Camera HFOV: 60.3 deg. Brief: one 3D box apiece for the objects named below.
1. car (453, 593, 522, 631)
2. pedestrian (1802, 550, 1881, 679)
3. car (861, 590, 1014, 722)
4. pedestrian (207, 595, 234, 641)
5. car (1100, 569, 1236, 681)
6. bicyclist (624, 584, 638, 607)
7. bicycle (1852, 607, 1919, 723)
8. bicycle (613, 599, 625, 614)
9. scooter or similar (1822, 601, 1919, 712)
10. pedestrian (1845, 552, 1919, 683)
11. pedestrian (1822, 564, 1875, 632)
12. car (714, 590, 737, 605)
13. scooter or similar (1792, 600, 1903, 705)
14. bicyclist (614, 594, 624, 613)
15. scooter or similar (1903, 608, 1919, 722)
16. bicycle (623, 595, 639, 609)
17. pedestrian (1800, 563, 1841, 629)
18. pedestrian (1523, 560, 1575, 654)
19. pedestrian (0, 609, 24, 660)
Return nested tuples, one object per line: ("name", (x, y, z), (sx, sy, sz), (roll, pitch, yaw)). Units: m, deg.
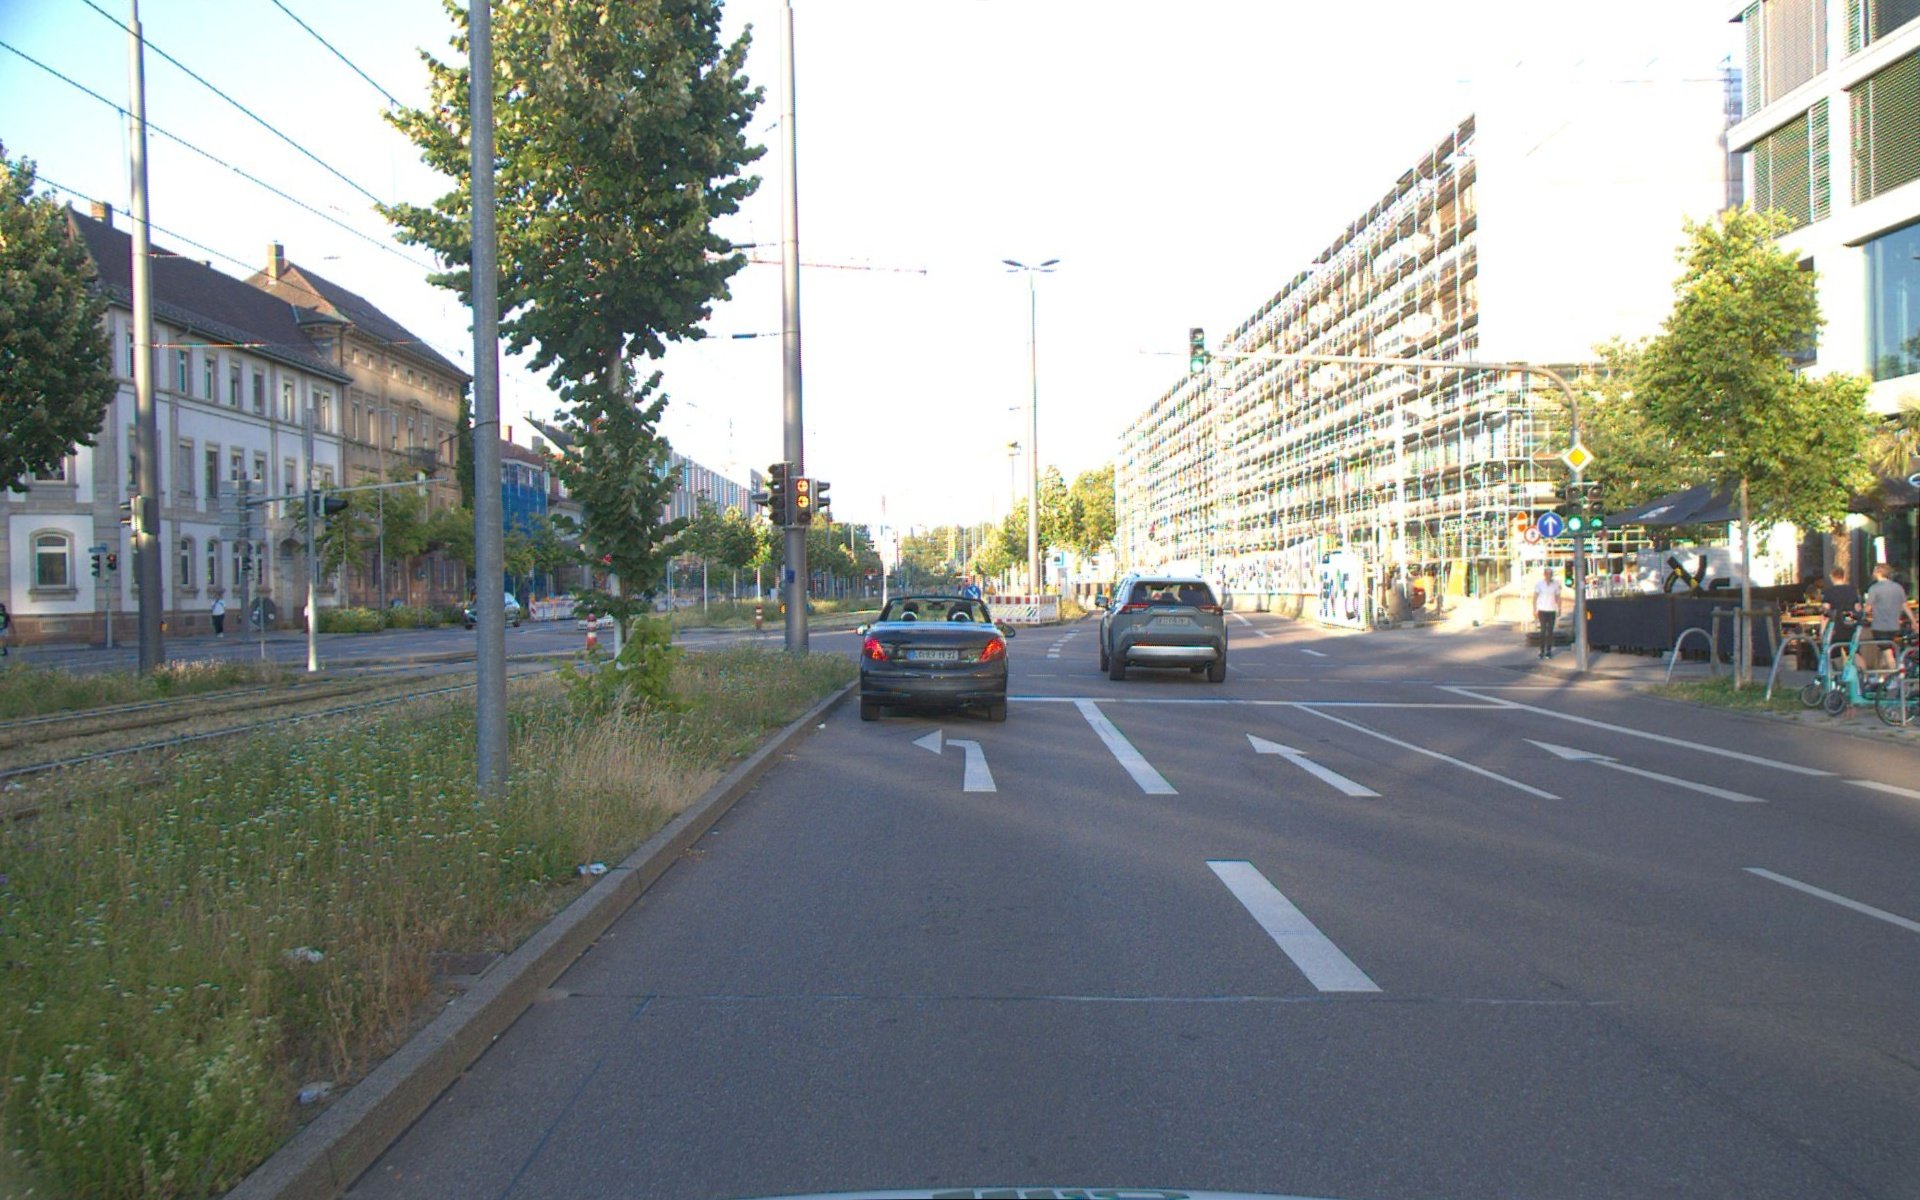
("car", (-22.080, 0.558, 77.428), (1.953, 1.607, 4.124), (-2, 1, 0))
("pedestrian", (12.223, 0.189, 22.943), (0.640, 1.731, 0.689), (-3, 1, -1))
("car", (-0.263, 0.592, 19.725), (1.640, 1.375, 4.000), (0, 1, -1))
("pedestrian", (-28.684, 0.692, 64.156), (0.688, 1.745, 0.812), (1, 0, -5))
("car", (3.331, 0.346, 27.222), (1.796, 1.701, 4.283), (0, 1, 1))
("bicyclist", (-23.464, -0.336, 118.011), (0.756, 1.598, 0.793), (1, 0, 1))
("bicycle", (11.012, 0.681, 18.506), (1.759, 1.214, 0.567), (-3, 1, -6))
("bicycle", (-23.475, 0.442, 113.925), (0.578, 1.006, 1.555), (1, 1, -4))
("scooter or similar", (10.932, 0.665, 19.652), (1.039, 1.244, 0.550), (-3, 0, 9))
("pedestrian", (12.971, 0.231, 23.155), (0.671, 1.765, 0.761), (-3, 1, -1))
("pedestrian", (18.382, -0.048, 34.231), (0.730, 1.342, 0.715), (-4, 0, 12))
("car", (-23.569, -0.242, 166.270), (1.623, 1.456, 3.895), (1, 1, 1))
("scooter or similar", (11.167, 0.650, 20.834), (1.031, 1.244, 0.598), (-3, 1, -5))
("bicyclist", (-23.469, 0.209, 113.925), (0.578, 1.288, 0.459), (1, 0, -4))
("scooter or similar", (10.986, 0.677, 17.967), (1.186, 1.222, 0.479), (-3, 1, -6))
("bicycle", (-23.475, 0.149, 118.013), (0.756, 0.961, 1.640), (1, 1, 1))
("pedestrian", (18.378, -0.089, 35.350), (0.600, 1.342, 0.621), (-4, 0, 17))
("pedestrian", (12.026, 0.137, 33.779), (0.753, 1.880, 0.678), (-2, 1, -1))
("pedestrian", (-28.505, 1.027, 49.359), (0.591, 1.484, 0.936), (1, 0, 1))
